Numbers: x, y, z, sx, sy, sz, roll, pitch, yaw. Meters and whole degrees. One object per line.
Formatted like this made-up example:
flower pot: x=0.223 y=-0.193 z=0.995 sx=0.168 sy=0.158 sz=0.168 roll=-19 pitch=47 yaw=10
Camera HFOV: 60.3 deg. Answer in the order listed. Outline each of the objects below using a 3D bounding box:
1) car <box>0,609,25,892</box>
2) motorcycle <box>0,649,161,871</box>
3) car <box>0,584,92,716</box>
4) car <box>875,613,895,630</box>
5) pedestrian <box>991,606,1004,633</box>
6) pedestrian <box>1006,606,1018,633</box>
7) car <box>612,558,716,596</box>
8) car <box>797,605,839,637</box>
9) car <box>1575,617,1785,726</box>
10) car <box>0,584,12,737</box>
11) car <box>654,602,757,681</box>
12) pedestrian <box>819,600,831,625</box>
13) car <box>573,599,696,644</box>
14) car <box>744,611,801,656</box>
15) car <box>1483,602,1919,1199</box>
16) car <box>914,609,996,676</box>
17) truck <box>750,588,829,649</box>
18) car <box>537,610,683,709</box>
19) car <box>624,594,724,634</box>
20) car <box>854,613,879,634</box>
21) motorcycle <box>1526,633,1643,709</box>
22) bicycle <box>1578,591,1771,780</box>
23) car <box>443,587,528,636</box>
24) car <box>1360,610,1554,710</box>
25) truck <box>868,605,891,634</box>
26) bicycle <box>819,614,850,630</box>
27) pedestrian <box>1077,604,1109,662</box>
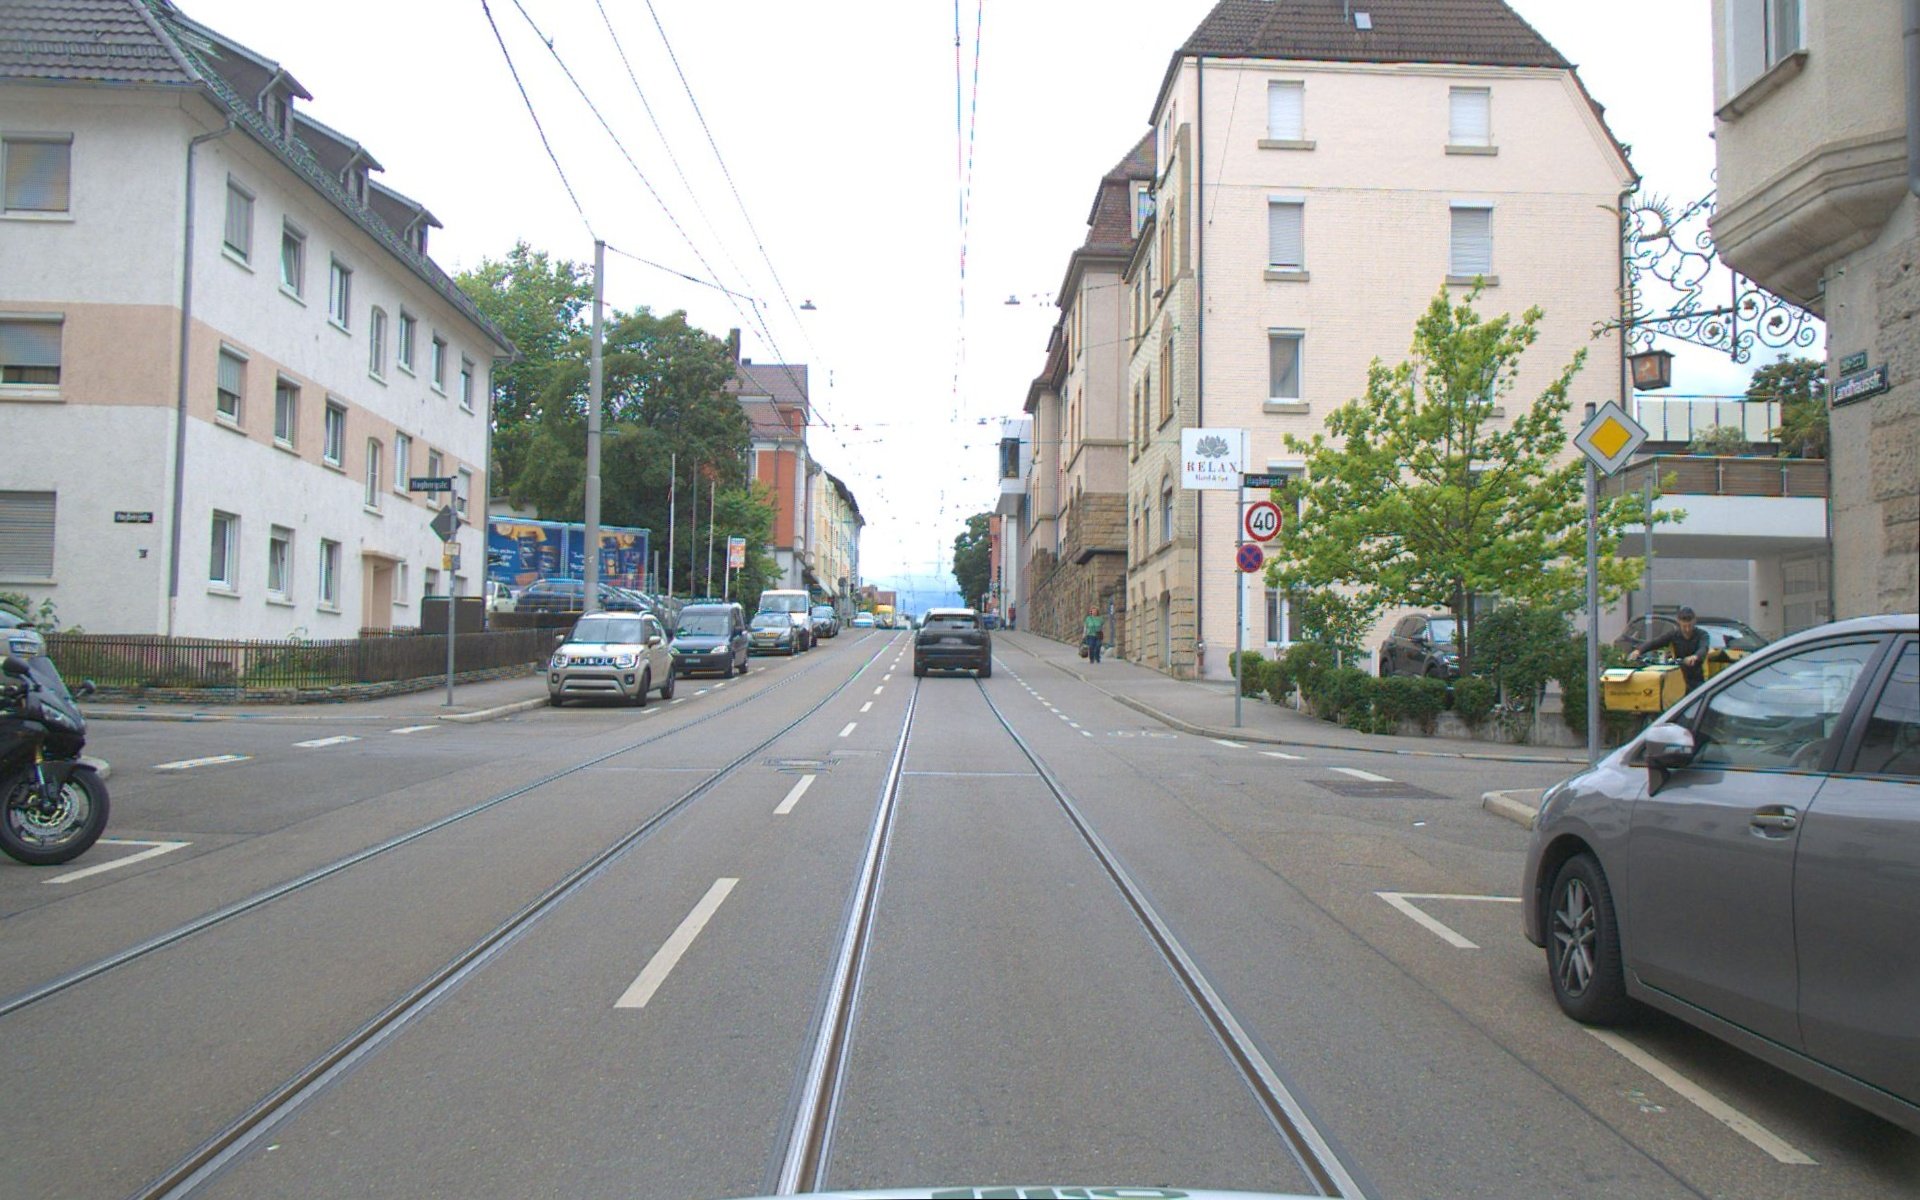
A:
car: x=-5.576 y=0.720 z=6.128 sx=1.743 sy=1.381 sz=4.291 roll=1 pitch=0 yaw=0
motorcycle: x=-5.717 y=0.875 z=9.422 sx=2.063 sy=1.154 sz=0.767 roll=-1 pitch=0 yaw=13
car: x=-13.006 y=0.600 z=20.491 sx=3.443 sy=1.519 sz=1.776 roll=2 pitch=-6 yaw=-1
car: x=-7.532 y=2.166 z=165.845 sx=1.817 sy=1.635 sz=4.296 roll=1 pitch=0 yaw=-1
pedestrian: x=2.408 y=1.242 z=106.502 sx=0.775 sy=1.696 sz=0.799 roll=1 pitch=-1 yaw=1
pedestrian: x=3.351 y=1.246 z=106.447 sx=0.775 sy=1.696 sz=0.799 roll=1 pitch=-1 yaw=1
car: x=-11.715 y=-0.904 z=65.582 sx=3.797 sy=1.381 sz=1.687 roll=1 pitch=0 yaw=-2
car: x=-6.838 y=1.018 z=80.186 sx=1.677 sy=1.472 sz=4.289 roll=1 pitch=0 yaw=0
car: x=14.130 y=1.339 z=32.802 sx=1.953 sy=1.945 sz=4.701 roll=1 pitch=0 yaw=-2
car: x=-11.312 y=0.520 z=15.403 sx=3.905 sy=1.489 sz=1.754 roll=2 pitch=-1 yaw=1
car: x=-6.077 y=0.965 z=39.941 sx=1.708 sy=1.766 sz=4.519 roll=-1 pitch=0 yaw=1
pedestrian: x=-9.662 y=0.903 z=118.570 sx=0.759 sy=1.807 sz=0.650 roll=1 pitch=-1 yaw=0
car: x=-11.428 y=0.755 z=58.158 sx=3.978 sy=1.470 sz=1.687 roll=1 pitch=0 yaw=-2
car: x=-6.570 y=1.148 z=58.332 sx=1.663 sy=1.458 sz=4.479 roll=-1 pitch=0 yaw=-2
car: x=3.326 y=0.832 z=5.113 sx=1.700 sy=1.564 sz=4.571 roll=3 pitch=0 yaw=-3
car: x=-0.133 y=1.047 z=42.344 sx=1.953 sy=1.590 sz=4.289 roll=1 pitch=0 yaw=0
truck: x=-6.647 y=0.716 z=65.297 sx=2.233 sy=2.226 sz=8.024 roll=1 pitch=0 yaw=0
car: x=-6.052 y=0.993 z=29.003 sx=1.662 sy=1.583 sz=3.850 roll=1 pitch=0 yaw=1
car: x=-11.813 y=0.571 z=68.283 sx=3.895 sy=1.578 sz=1.681 roll=1 pitch=0 yaw=-16
car: x=-7.487 y=1.852 z=133.291 sx=1.817 sy=1.635 sz=4.296 roll=1 pitch=0 yaw=-1
motorcycle: x=10.005 y=1.166 z=26.588 sx=0.908 sy=1.124 sz=2.383 roll=2 pitch=-4 yaw=-2
bicycle: x=7.893 y=0.940 z=18.179 sx=1.161 sy=1.899 sz=2.713 roll=1 pitch=-3 yaw=40
car: x=-15.639 y=0.364 z=54.711 sx=1.648 sy=1.520 sz=3.888 roll=1 pitch=0 yaw=0
car: x=9.343 y=1.063 z=31.562 sx=1.954 sy=1.712 sz=5.092 roll=1 pitch=0 yaw=-3
truck: x=-9.013 y=2.204 z=186.140 sx=2.256 sy=3.090 sz=9.031 roll=1 pitch=-1 yaw=-1
bicycle: x=-7.861 y=1.377 z=103.648 sx=1.872 sy=1.017 sz=0.479 roll=1 pitch=-1 yaw=-1
pedestrian: x=4.036 y=0.992 z=50.197 sx=0.853 sy=1.716 sz=0.663 roll=-1 pitch=-1 yaw=-3
